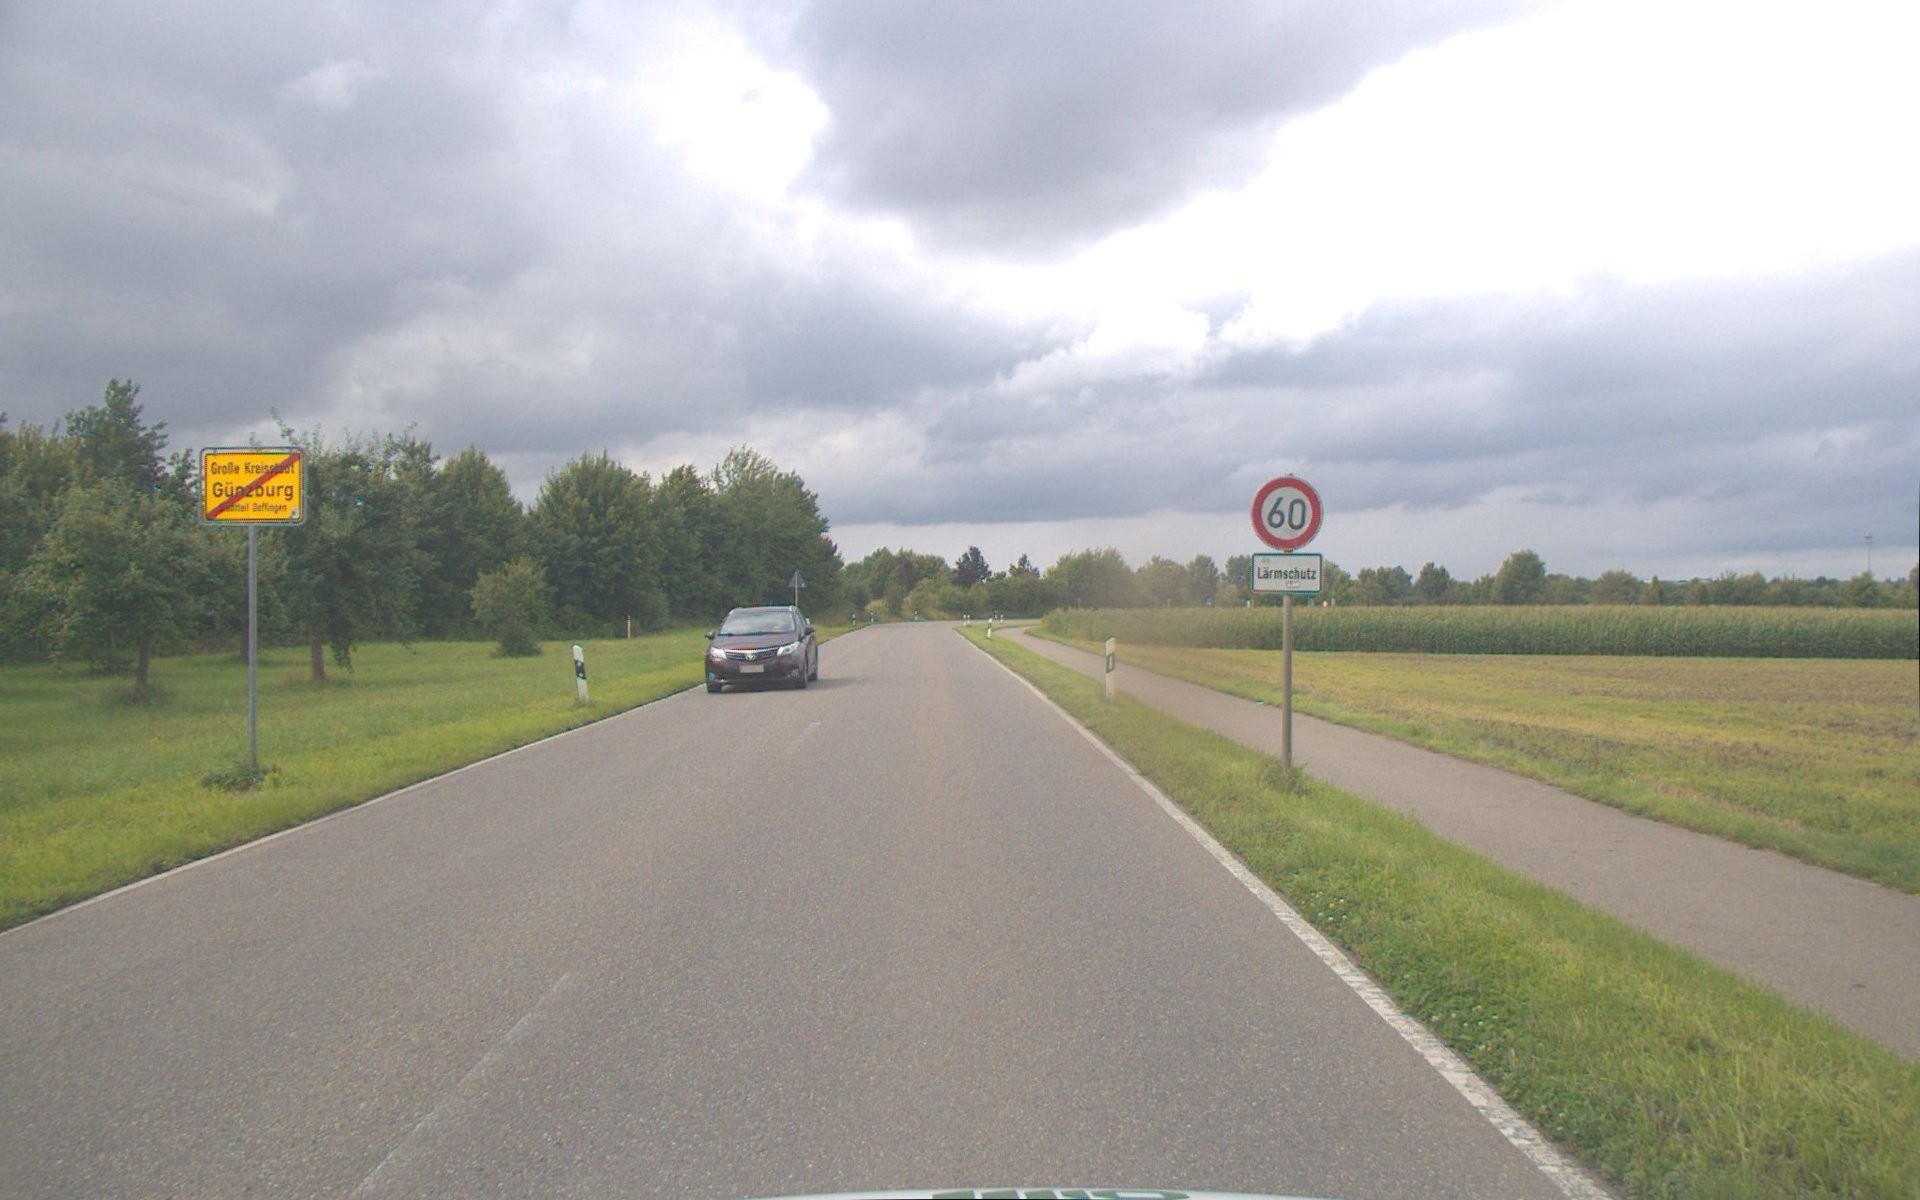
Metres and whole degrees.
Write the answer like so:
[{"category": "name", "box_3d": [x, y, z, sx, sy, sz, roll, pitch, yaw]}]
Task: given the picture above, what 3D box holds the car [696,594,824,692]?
[{"category": "car", "box_3d": [-3.556, 0.727, 30.074, 1.826, 1.579, 4.181, -2, 0, -1]}]
